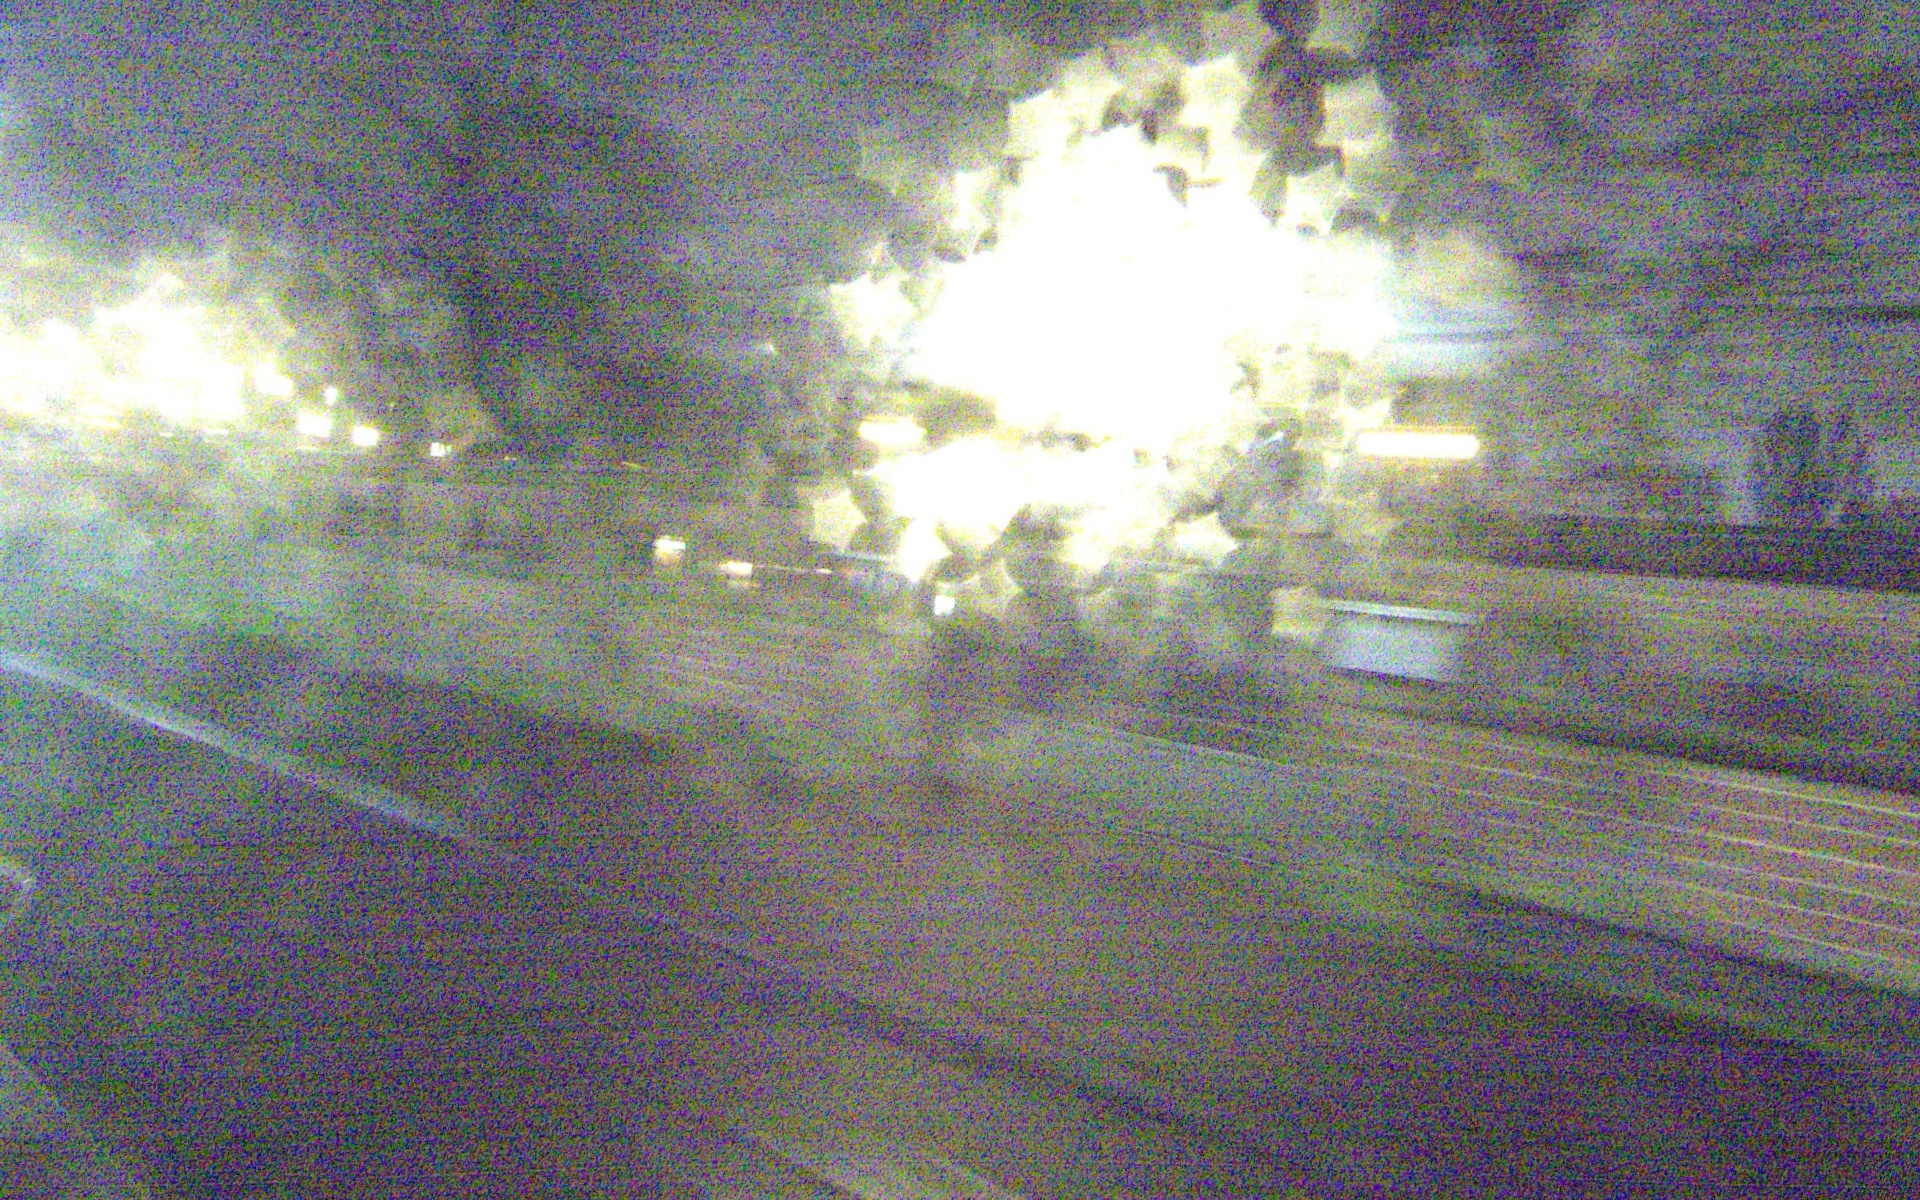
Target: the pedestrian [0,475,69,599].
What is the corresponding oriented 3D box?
[{"bbox_3d":[-13.667,-0.928,14.433,0.977,1.685,0.941,7,2,27],"label":"pedestrian"}]
